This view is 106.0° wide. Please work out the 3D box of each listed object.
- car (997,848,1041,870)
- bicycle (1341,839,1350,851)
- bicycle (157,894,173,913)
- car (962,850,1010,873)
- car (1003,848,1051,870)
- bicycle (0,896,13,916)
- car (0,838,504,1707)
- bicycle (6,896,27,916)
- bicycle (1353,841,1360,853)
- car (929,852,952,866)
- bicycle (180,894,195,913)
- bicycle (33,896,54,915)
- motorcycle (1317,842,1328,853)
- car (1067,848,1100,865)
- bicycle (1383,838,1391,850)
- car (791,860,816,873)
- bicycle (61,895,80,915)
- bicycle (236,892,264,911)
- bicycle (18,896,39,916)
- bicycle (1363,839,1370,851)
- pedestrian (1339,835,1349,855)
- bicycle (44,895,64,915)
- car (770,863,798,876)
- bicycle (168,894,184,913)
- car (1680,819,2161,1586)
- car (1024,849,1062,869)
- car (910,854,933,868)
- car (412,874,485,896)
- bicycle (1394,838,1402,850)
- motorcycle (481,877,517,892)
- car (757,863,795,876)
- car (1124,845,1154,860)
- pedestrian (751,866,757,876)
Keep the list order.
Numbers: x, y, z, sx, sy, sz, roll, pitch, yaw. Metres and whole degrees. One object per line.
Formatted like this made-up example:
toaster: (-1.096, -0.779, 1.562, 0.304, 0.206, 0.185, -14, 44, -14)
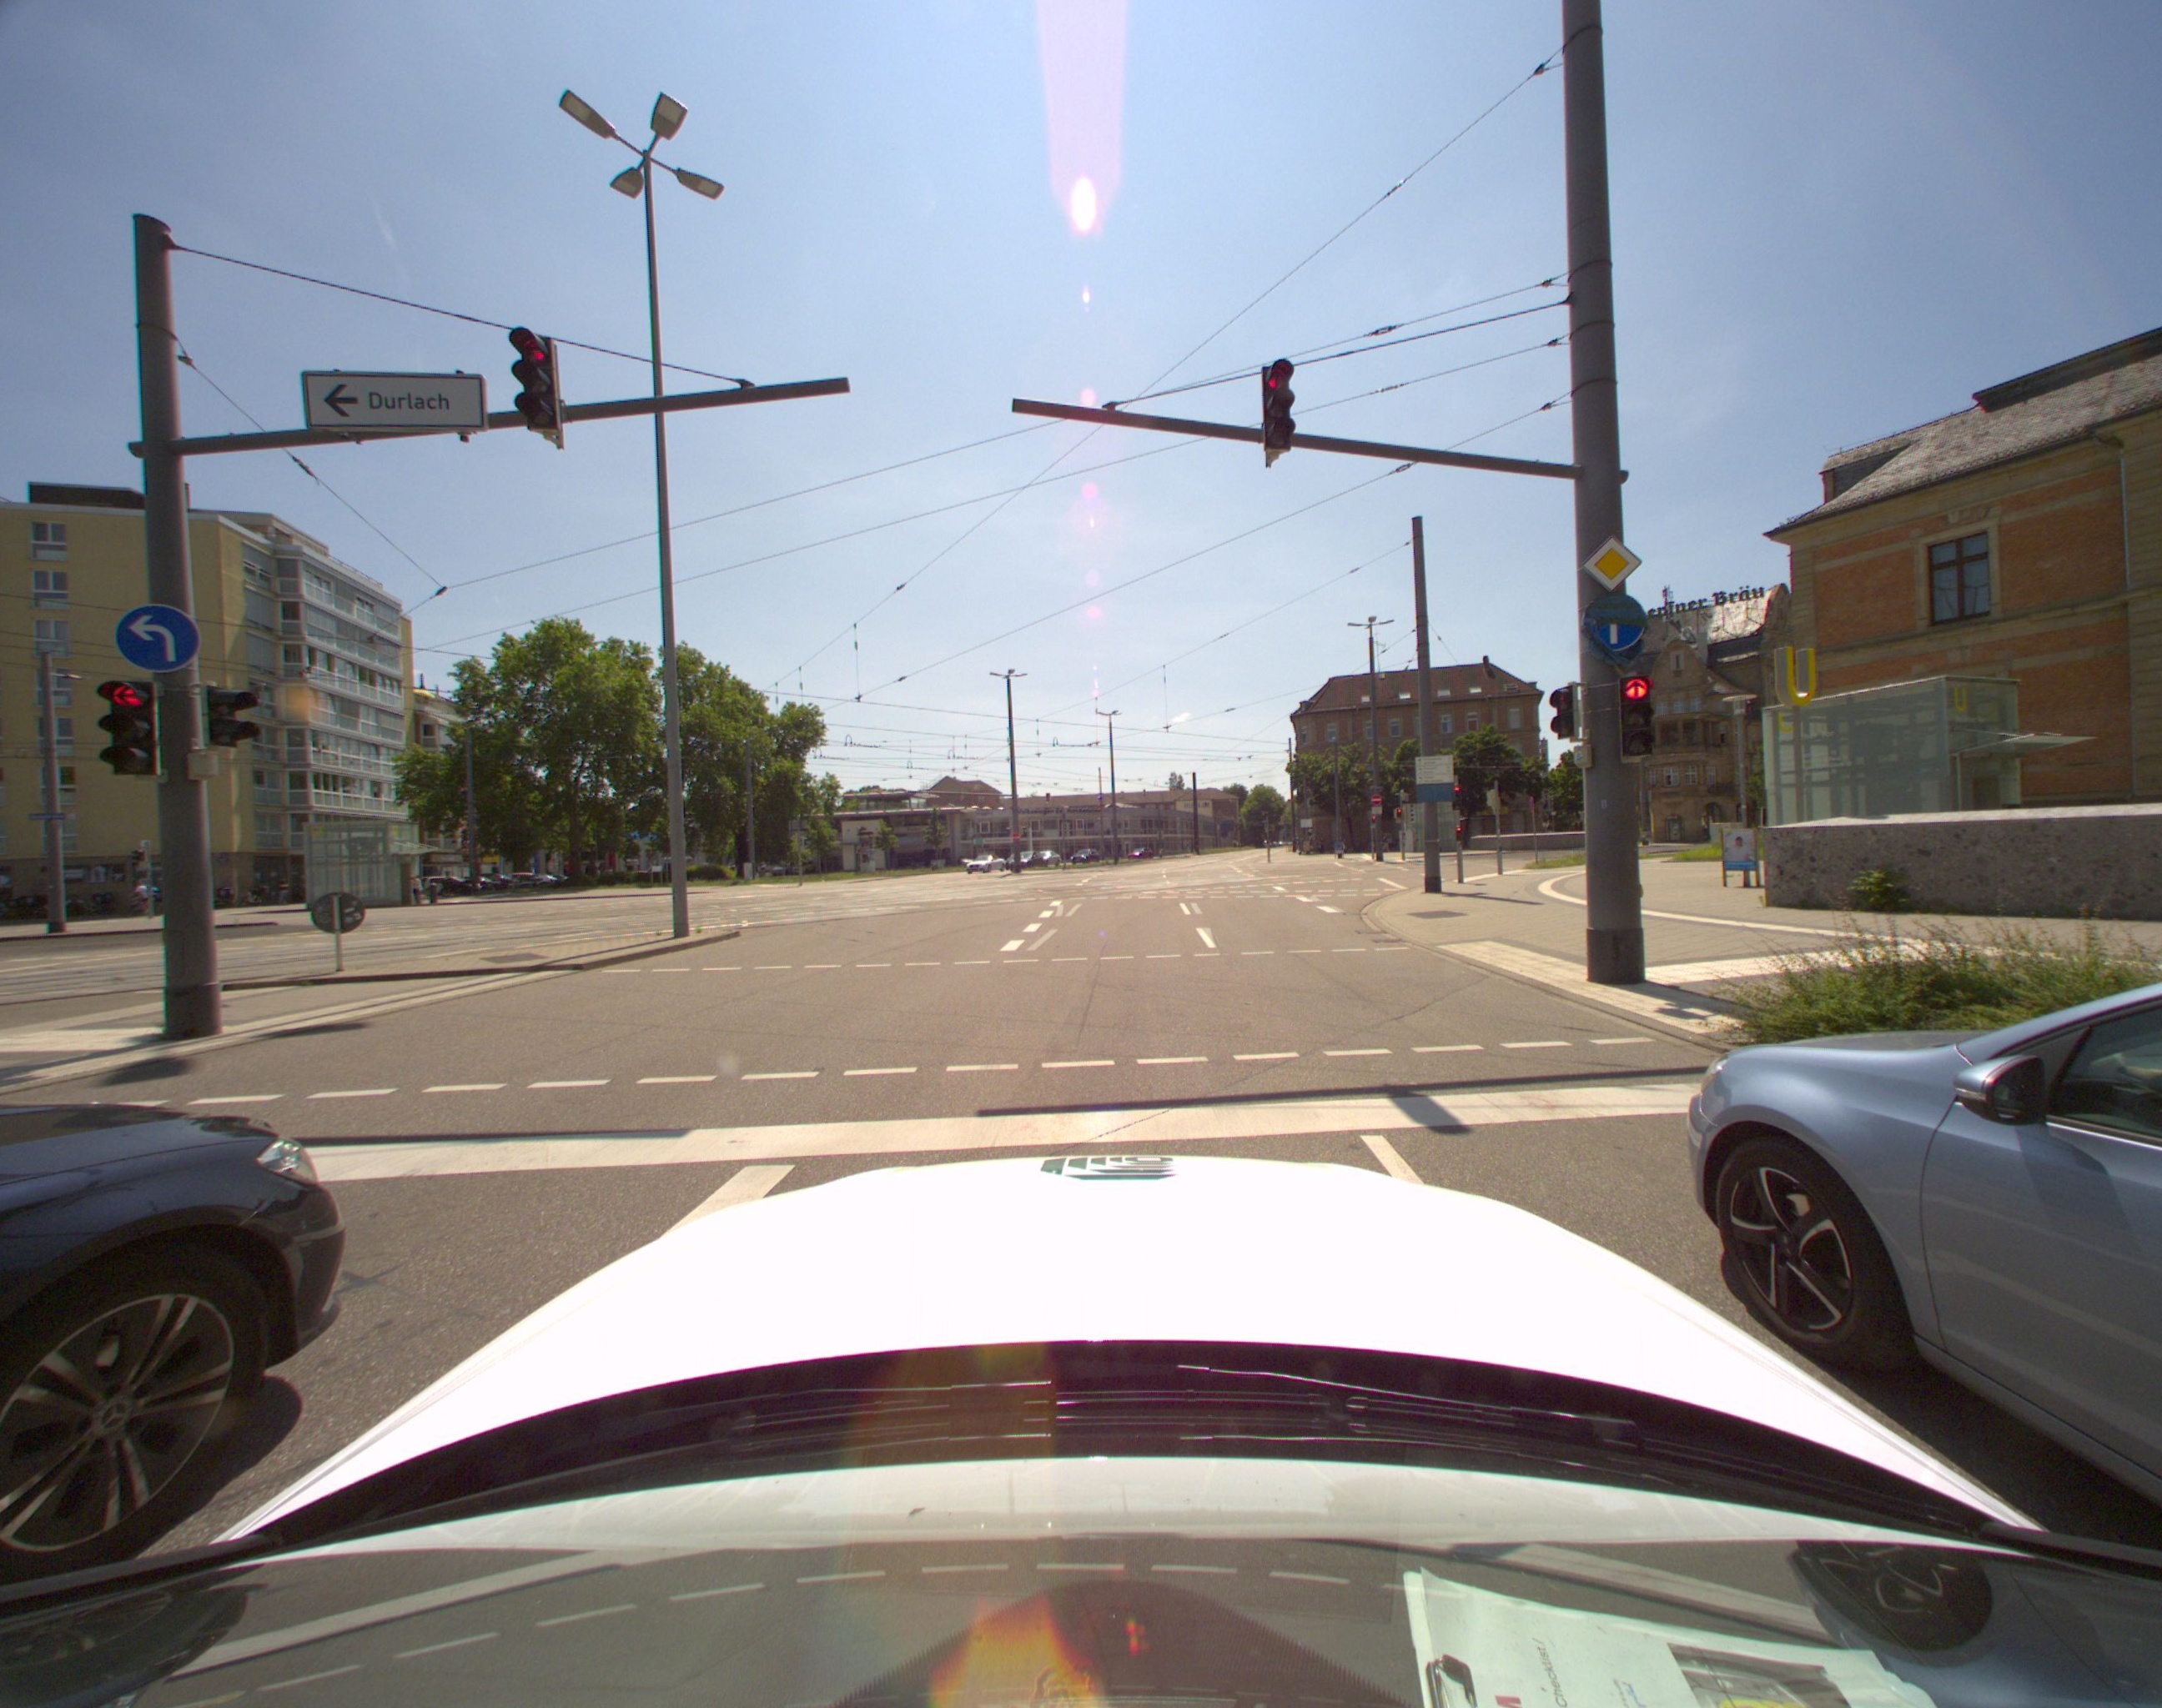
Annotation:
car: (-5.322, 0.435, 70.700, 1.977, 1.700, 4.870, -2, 0, 19)
bicycle: (25.698, -0.883, 79.149, 0.440, 1.146, 2.099, -1, -1, 9)
bicycle: (-51.688, 2.790, 45.947, 0.435, 1.026, 1.426, -2, 0, -42)
car: (-7.477, 0.580, 64.607, 2.061, 1.580, 4.866, -2, 0, 15)
car: (-4.233, 0.370, 64.842, 1.977, 1.637, 4.870, -2, 0, 19)
bicycle: (-58.457, 2.822, 44.128, 0.435, 1.026, 1.426, -2, 0, -42)
car: (-2.969, 0.808, 0.383, 1.790, 1.640, 4.808, -1, 0, 3)
bicycle: (-57.857, 2.819, 44.279, 0.435, 1.026, 1.426, -2, 0, -42)
bicycle: (26.551, -0.639, 78.470, 0.546, 1.120, 1.830, -2, 0, 22)
car: (-17.382, 0.633, 100.725, 1.913, 1.707, 4.002, 0, -1, 2)
bicycle: (-50.800, 2.788, 46.304, 0.435, 1.026, 1.426, -2, 0, -42)
bicycle: (-56.914, 2.816, 44.673, 0.435, 1.026, 1.426, -2, 0, -42)
motorcycle: (23.332, -0.622, 78.702, 0.577, 1.074, 1.949, -2, 0, 6)
car: (0.325, 0.241, 87.113, 2.061, 1.682, 4.870, -2, 0, 19)
bicycle: (29.372, -0.937, 78.181, 0.546, 1.120, 1.879, -2, 0, 18)
car: (-34.791, 1.592, 102.278, 1.763, 1.510, 4.322, -2, 0, -3)
bicycle: (-55.910, 2.813, 45.067, 0.435, 1.026, 1.426, -2, 0, -42)
bicycle: (-49.273, 2.796, 48.278, 0.432, 1.026, 1.437, -2, 0, -14)
bicycle: (-57.402, 2.817, 44.437, 0.435, 1.026, 1.426, -2, 0, -42)
bicycle: (27.356, -0.903, 78.080, 0.546, 1.119, 1.829, -2, 0, 18)
pedestrian: (22.863, -0.821, 70.728, 0.463, 1.708, 0.635, -2, 0, -22)
bicycle: (-56.408, 2.813, 44.747, 0.435, 1.026, 1.426, -2, 0, -42)
car: (-37.463, 1.946, 102.874, 1.760, 1.510, 4.330, -2, 0, 3)
bicycle: (-51.223, 2.789, 46.116, 0.435, 1.026, 1.426, -2, 0, -42)
car: (2.851, 0.656, 0.804, 1.645, 1.459, 4.005, -1, 0, 1)
car: (-3.511, 0.455, 76.604, 1.977, 1.739, 4.565, -2, 0, 19)
car: (-19.678, 0.847, 100.733, 1.913, 1.707, 4.002, 0, -1, 2)
car: (-49.187, 2.389, 63.384, 4.001, 1.420, 1.986, -2, 0, -20)
bicycle: (30.424, -0.991, 78.221, 0.546, 1.120, 1.938, -2, 0, 18)
motorcycle: (-39.514, 2.067, 55.323, 1.925, 0.961, 0.521, -2, 0, -29)
car: (-40.697, 2.033, 108.700, 4.343, 1.510, 1.754, -2, 0, -33)
car: (7.376, -0.204, 102.789, 1.974, 1.776, 4.025, -1, -1, 35)
pedestrian: (-39.965, 2.079, 99.629, 0.510, 1.204, 0.446, -2, 0, 7)
